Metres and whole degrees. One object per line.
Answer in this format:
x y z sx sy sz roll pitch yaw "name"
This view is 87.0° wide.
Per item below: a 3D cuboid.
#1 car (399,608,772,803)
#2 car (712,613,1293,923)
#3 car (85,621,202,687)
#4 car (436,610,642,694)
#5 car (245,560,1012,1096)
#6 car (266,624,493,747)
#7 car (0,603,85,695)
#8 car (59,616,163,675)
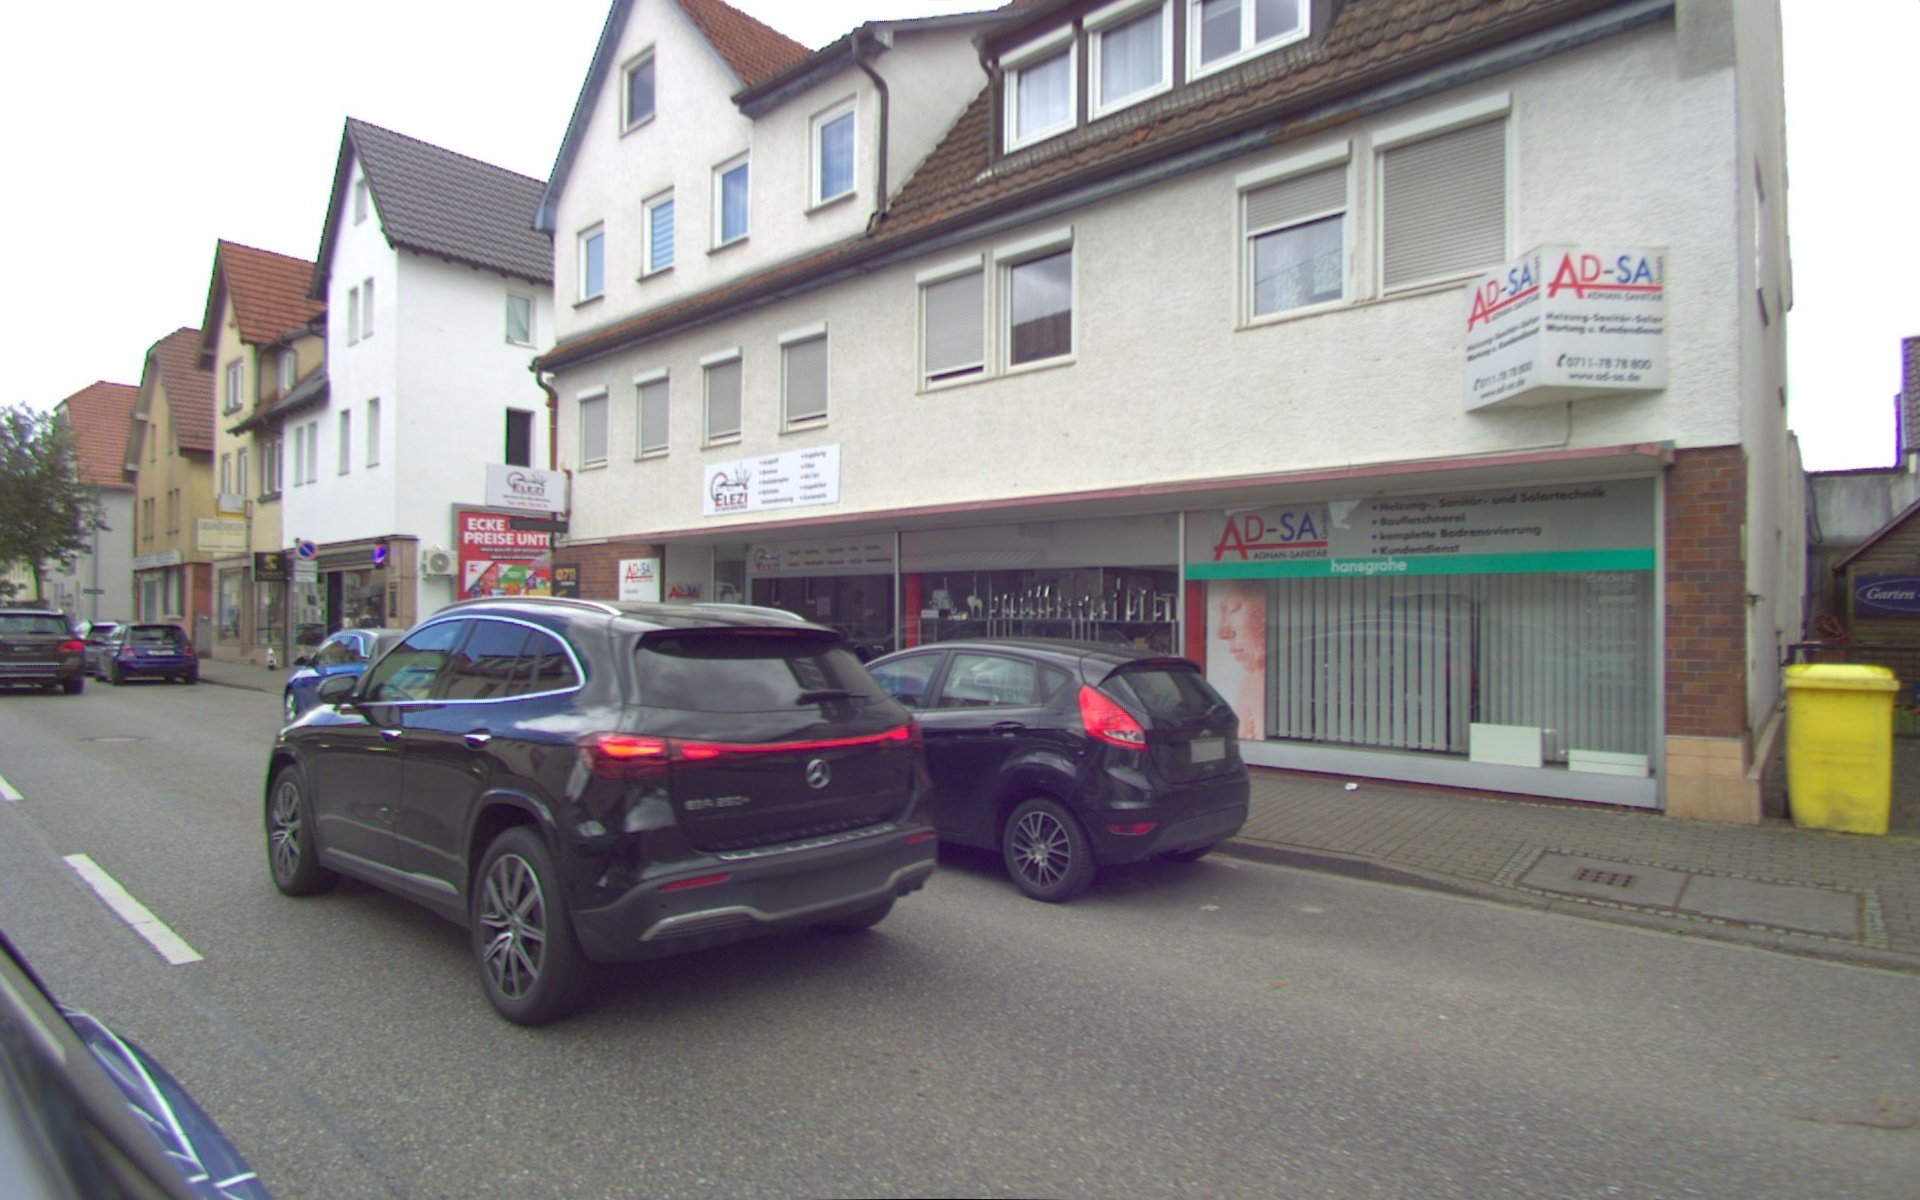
-4.015 0.936 10.499 4.302 1.611 1.784 -1 -3 41 "car"
0.100 0.889 6.872 3.811 1.519 1.565 -1 -3 42 "car"
-20.121 1.291 24.904 3.590 1.504 1.664 -1 -3 42 "car"
-9.678 1.120 23.471 1.998 1.715 3.948 -1 0 39 "car"
-1.928 0.749 5.099 4.190 1.591 1.776 -1 -3 42 "car"
-8.280 1.109 14.308 3.774 1.511 1.664 -1 -3 42 "car"
-19.545 0.964 20.738 4.365 1.751 1.880 -1 -3 42 "car"
-24.345 1.272 28.978 4.112 1.578 1.691 -1 -3 42 "car"
